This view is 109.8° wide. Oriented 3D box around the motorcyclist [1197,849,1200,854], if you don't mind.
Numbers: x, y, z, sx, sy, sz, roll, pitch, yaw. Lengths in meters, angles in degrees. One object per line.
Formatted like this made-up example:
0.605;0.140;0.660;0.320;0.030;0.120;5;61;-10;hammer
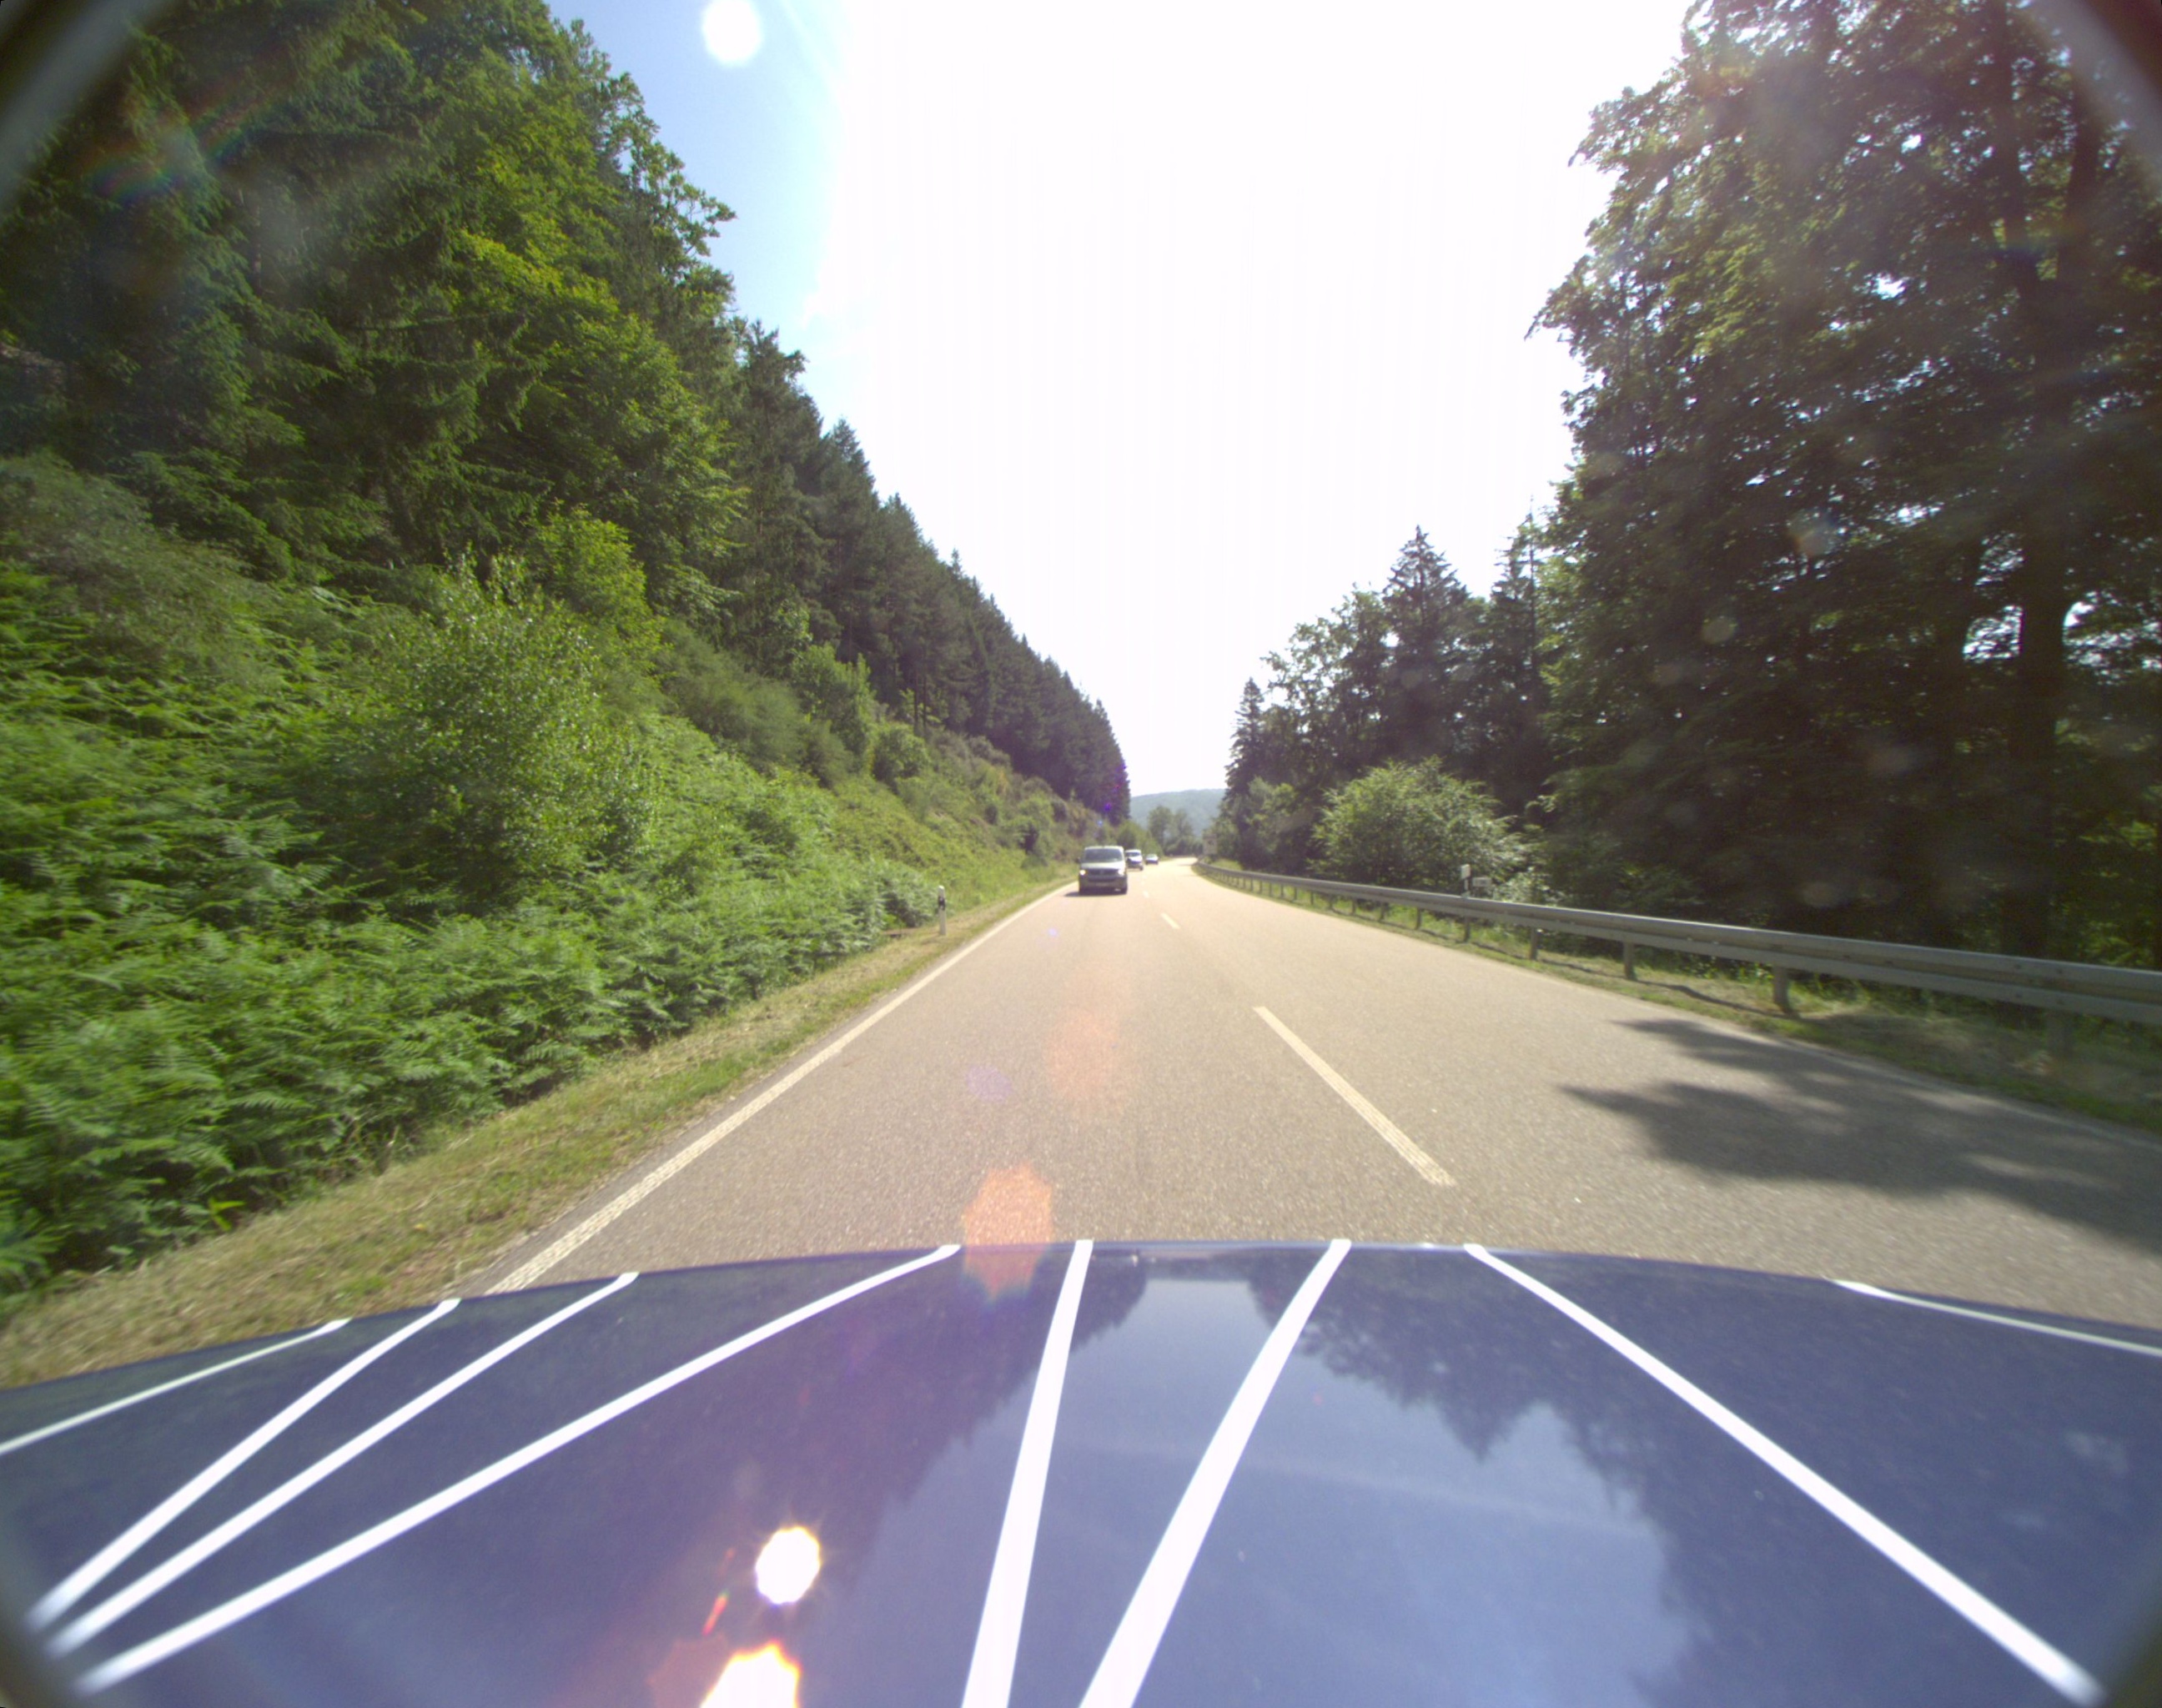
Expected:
31.330;-0.685;202.631;0.659;1.504;0.935;-1;1;13;motorcyclist

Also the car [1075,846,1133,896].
1.031;0.644;31.169;1.989;1.899;4.762;-1;0;6;car

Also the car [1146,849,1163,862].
10.394;0.210;107.273;1.997;1.718;4.003;-2;0;10;car

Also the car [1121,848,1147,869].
4.979;0.406;71.140;2.136;1.824;4.724;-2;0;6;car

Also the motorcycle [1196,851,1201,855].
31.297;-0.169;202.469;0.986;1.065;1.965;-1;0;14;motorcycle
